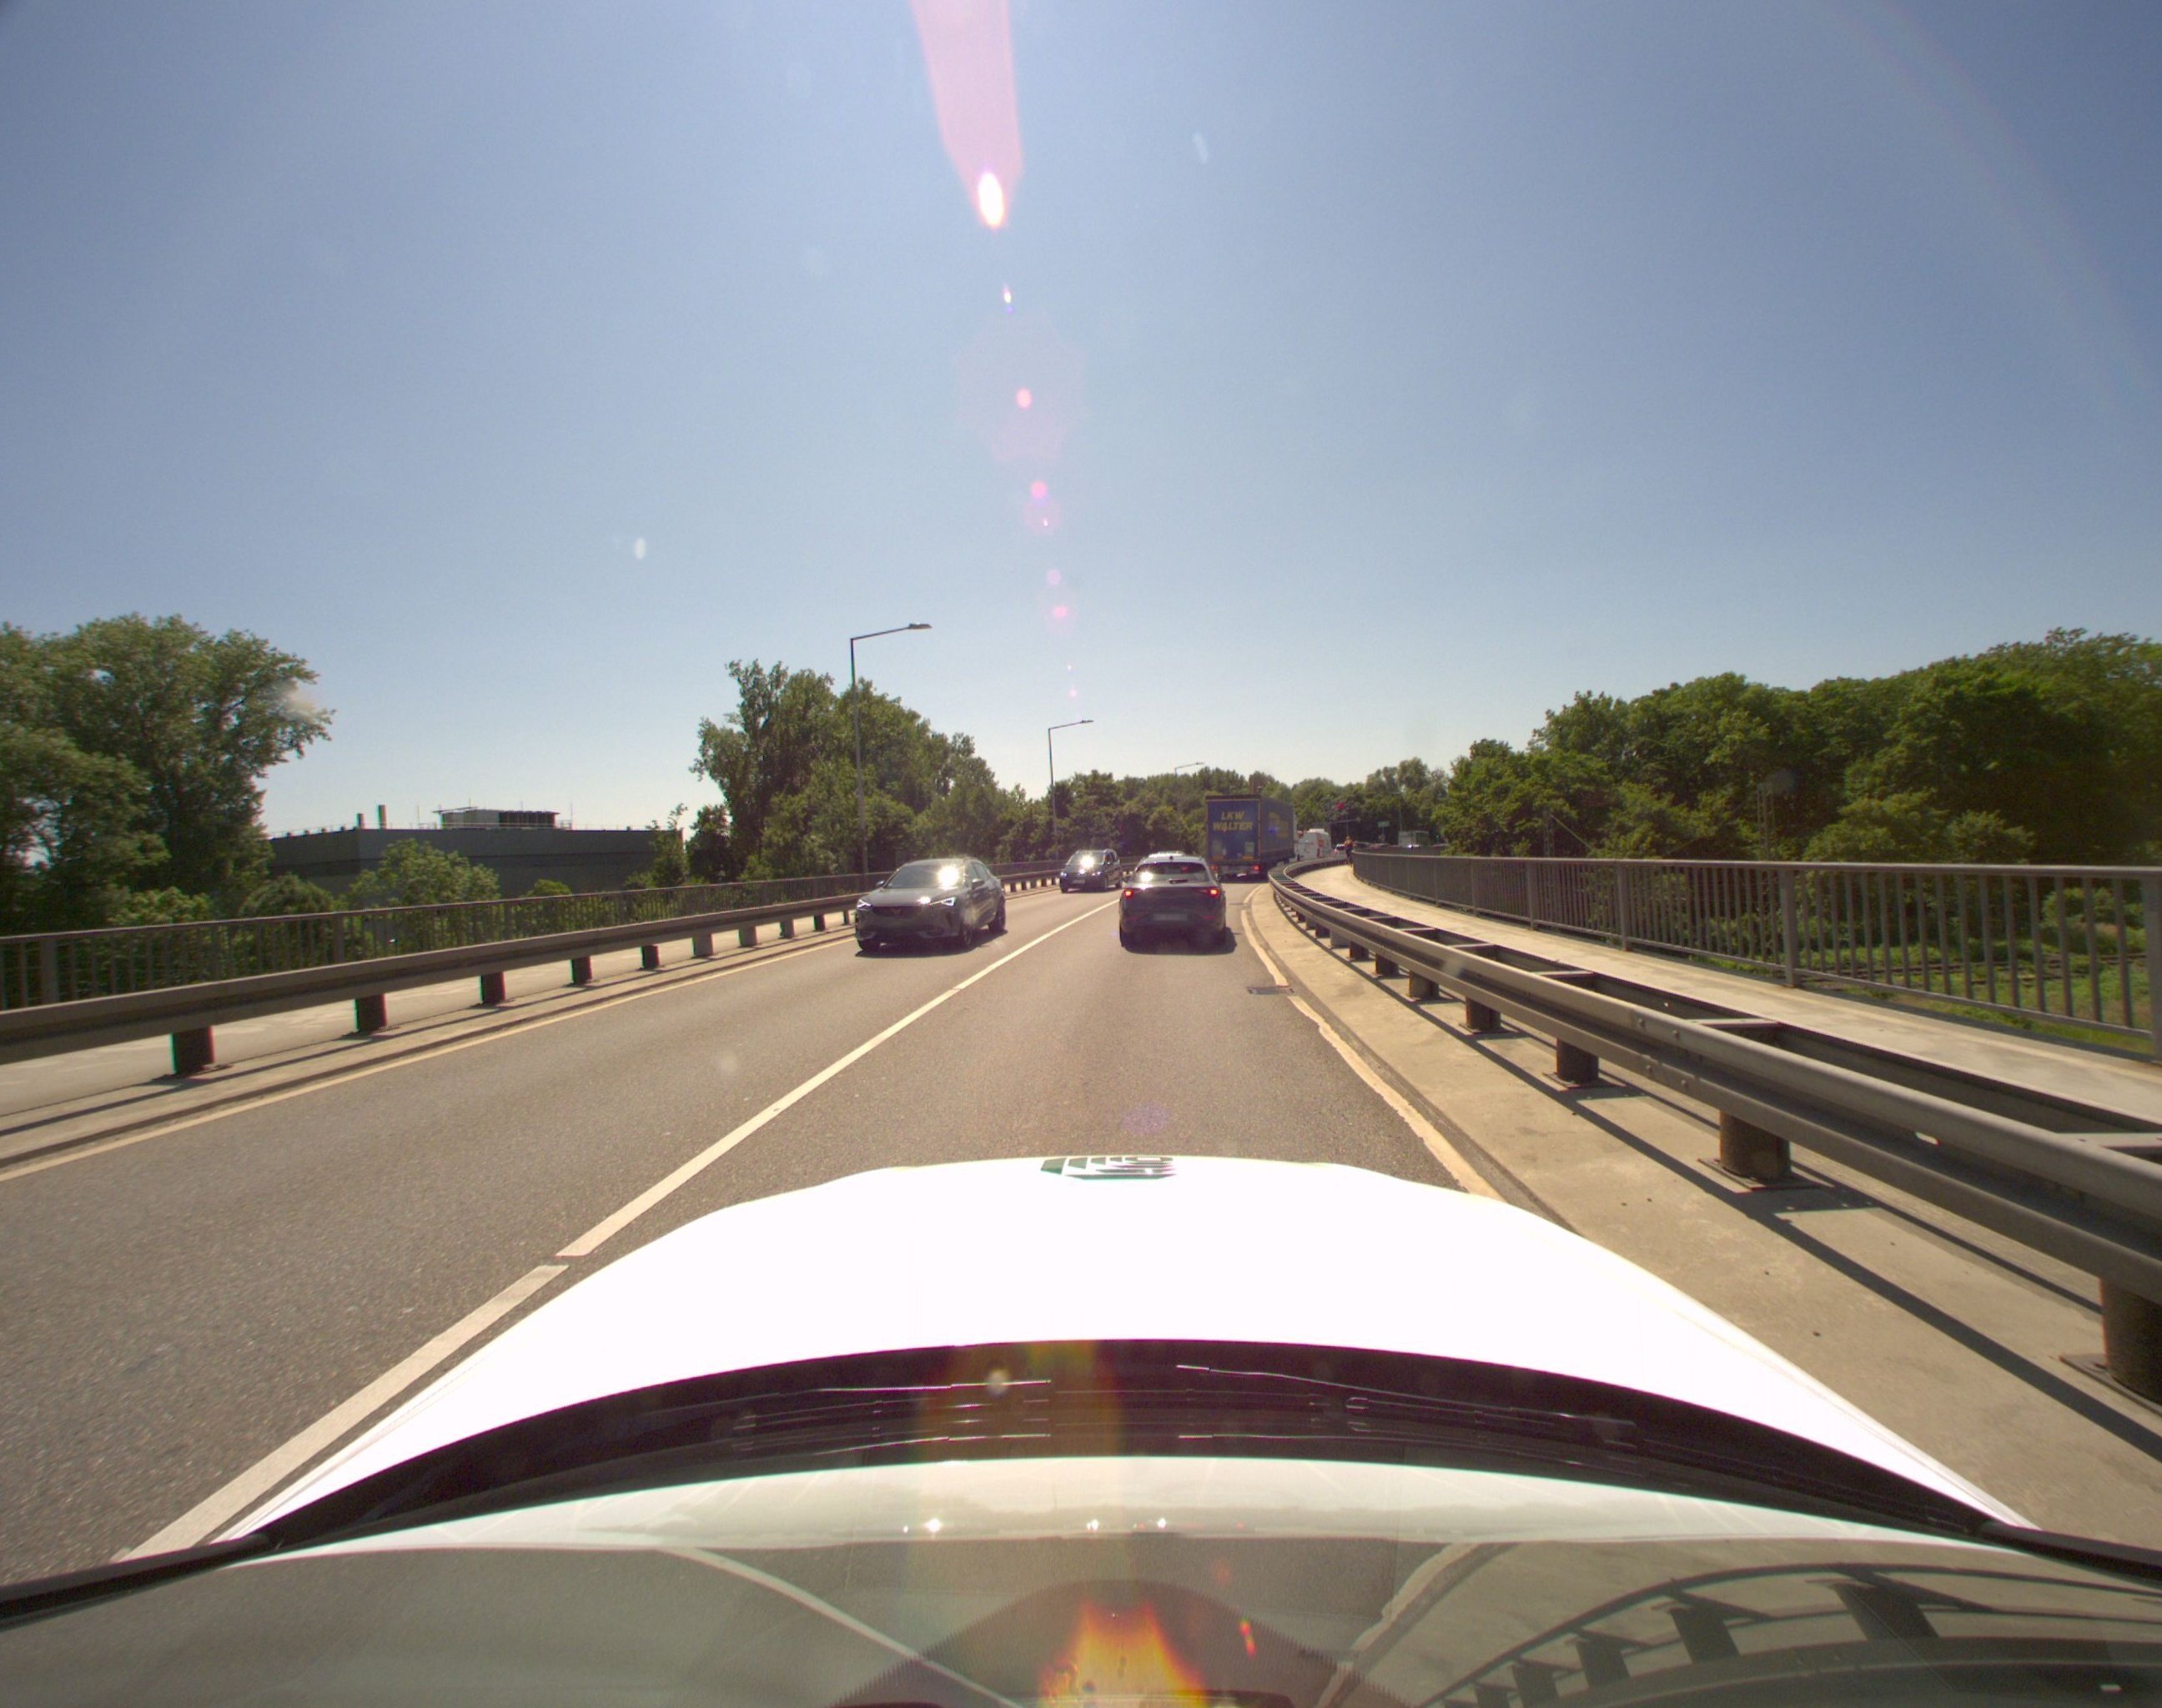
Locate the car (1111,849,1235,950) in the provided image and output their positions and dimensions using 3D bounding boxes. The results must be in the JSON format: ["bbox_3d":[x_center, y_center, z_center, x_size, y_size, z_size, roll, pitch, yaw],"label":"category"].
[{"bbox_3d":[1.545,0.683,14.230,1.837,1.499,3.763,-1,0,4],"label":"car"}]

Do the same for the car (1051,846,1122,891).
[{"bbox_3d":[0.292,0.560,32.465,1.892,1.589,4.014,-2,-1,13],"label":"car"}]

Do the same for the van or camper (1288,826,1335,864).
[{"bbox_3d":[17.246,-0.678,60.742,2.182,2.711,5.961,-1,0,27],"label":"van or camper"}]

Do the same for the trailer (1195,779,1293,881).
[{"bbox_3d":[9.034,-1.021,43.421,3.108,4.614,13.013,-1,-1,20],"label":"trailer"}]

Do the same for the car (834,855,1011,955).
[{"bbox_3d":[-2.651,0.812,14.766,1.877,1.497,4.323,-2,-1,6],"label":"car"}]

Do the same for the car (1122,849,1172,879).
[{"bbox_3d":[3.633,0.527,44.362,1.687,1.510,3.600,-3,-1,21],"label":"car"}]

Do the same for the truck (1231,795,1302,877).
[{"bbox_3d":[11.508,-0.978,49.990,3.143,4.585,7.434,-1,-1,21],"label":"truck"}]

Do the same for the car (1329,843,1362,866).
[{"bbox_3d":[22.694,0.040,69.780,1.870,1.850,4.025,-1,-1,30],"label":"car"}]

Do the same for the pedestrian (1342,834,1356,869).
[{"bbox_3d":[15.443,-0.148,46.908,0.730,1.967,0.738,-1,-1,21],"label":"pedestrian"}]

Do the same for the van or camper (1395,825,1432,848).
[{"bbox_3d":[40.496,-2.146,99.110,2.461,2.292,4.989,5,0,43],"label":"van or camper"}]

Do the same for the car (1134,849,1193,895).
[{"bbox_3d":[2.878,0.588,27.872,1.582,1.461,3.557,-1,-1,13],"label":"car"}]

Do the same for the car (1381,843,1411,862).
[{"bbox_3d":[33.218,-0.137,85.838,1.870,1.850,4.025,-2,-1,36],"label":"car"}]
